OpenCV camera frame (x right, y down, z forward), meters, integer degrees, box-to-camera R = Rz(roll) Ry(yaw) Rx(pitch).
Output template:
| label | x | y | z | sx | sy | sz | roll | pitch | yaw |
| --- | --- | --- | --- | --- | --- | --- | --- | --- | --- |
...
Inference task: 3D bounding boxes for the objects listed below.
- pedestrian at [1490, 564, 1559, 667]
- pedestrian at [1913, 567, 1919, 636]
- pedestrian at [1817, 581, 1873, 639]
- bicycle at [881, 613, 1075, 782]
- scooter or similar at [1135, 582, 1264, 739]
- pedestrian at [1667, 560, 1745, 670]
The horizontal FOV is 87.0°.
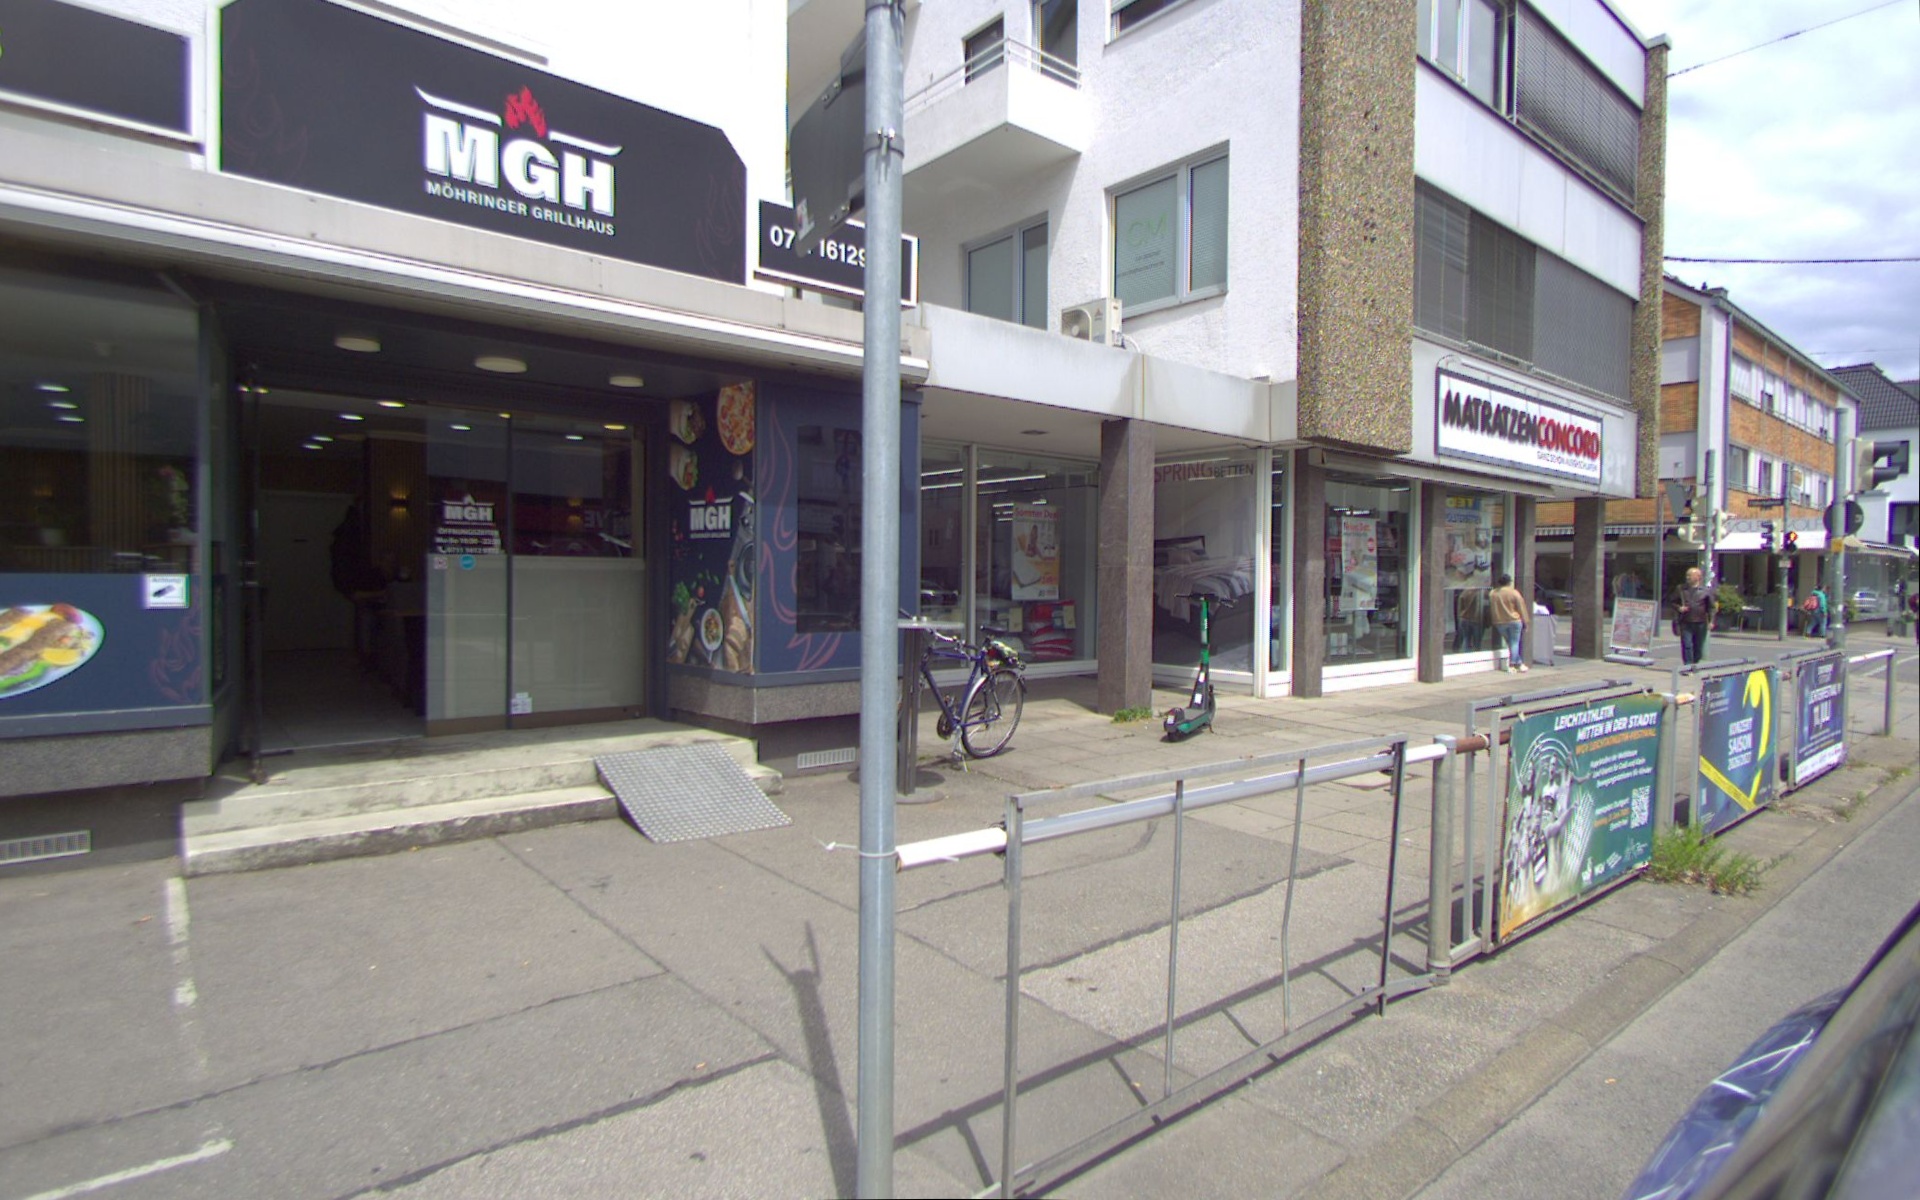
| label | x | y | z | sx | sy | sz | roll | pitch | yaw |
| --- | --- | --- | --- | --- | --- | --- | --- | --- | --- |
| pedestrian | 8.631 | 0.223 | 15.467 | 0.707 | 1.517 | 0.681 | 0 | 1 | -40 |
| pedestrian | 26.318 | 0.054 | 27.261 | 0.862 | 1.853 | 0.583 | 1 | 2 | -24 |
| pedestrian | 24.273 | 0.265 | 27.763 | 0.805 | 1.544 | 0.778 | 1 | 1 | 7 |
| bicycle | 0.172 | 0.643 | 7.335 | 0.474 | 1.040 | 1.612 | 2 | 2 | 41 |
| scooter or similar | 2.171 | 0.496 | 9.107 | 0.686 | 1.283 | 1.169 | 2 | 2 | 38 |
| pedestrian | 11.959 | 0.216 | 16.226 | 0.793 | 1.691 | 0.796 | 0 | 2 | -40 |
